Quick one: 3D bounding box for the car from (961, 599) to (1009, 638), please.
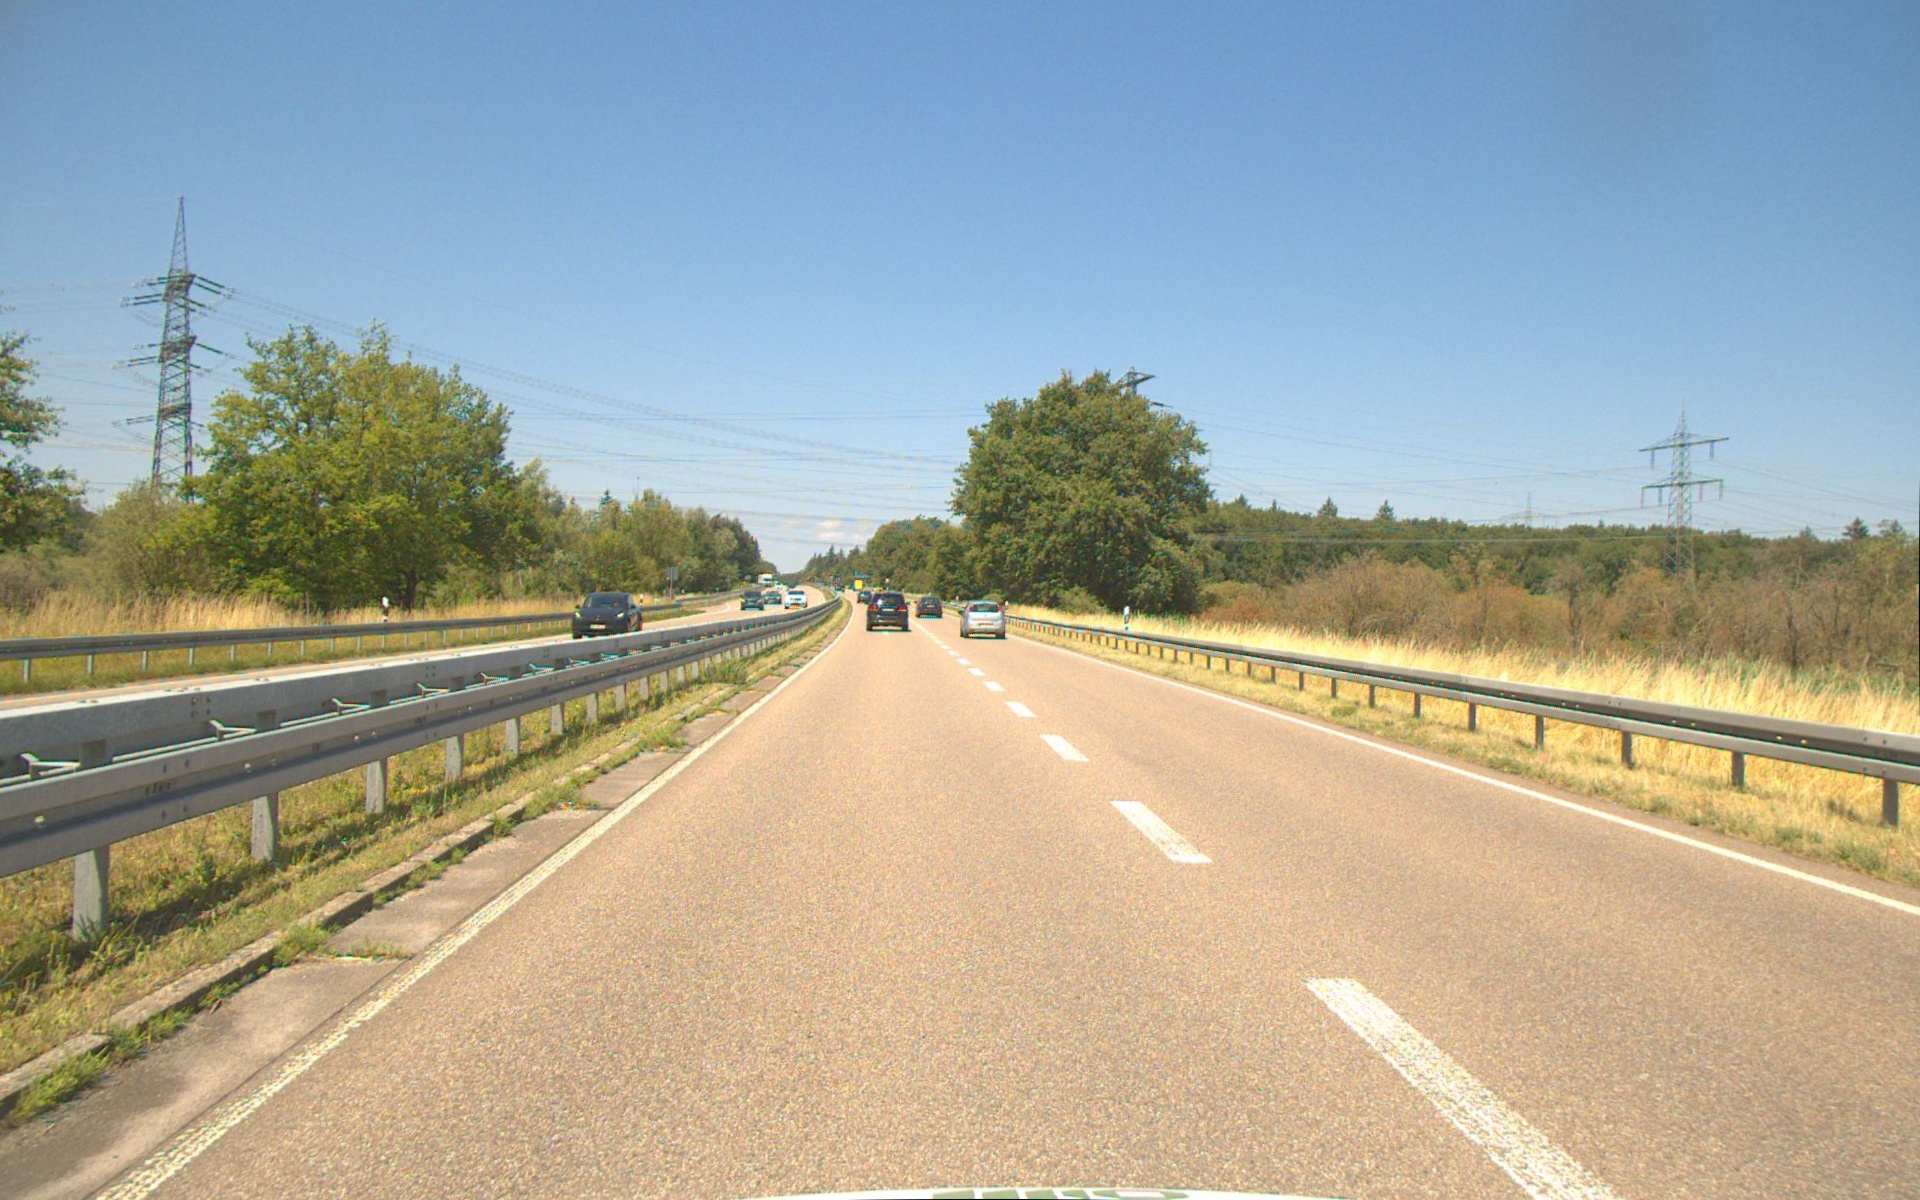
[{"bbox_3d":[0.988,0.713,66.474,1.743,1.505,4.314,1,0,-1],"label":"car"}]

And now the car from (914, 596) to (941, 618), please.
[{"bbox_3d":[-2.261,0.458,114.357,1.782,1.439,3.999,1,0,-1],"label":"car"}]

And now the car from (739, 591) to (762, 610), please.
[{"bbox_3d":[-17.073,0.073,134.966,1.582,1.501,3.064,1,0,-4],"label":"car"}]

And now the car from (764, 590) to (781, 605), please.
[{"bbox_3d":[-20.254,-0.308,178.724,1.484,1.500,3.065,4,0,-2],"label":"car"}]

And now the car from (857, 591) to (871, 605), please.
[{"bbox_3d":[-11.069,-0.239,191.676,1.484,1.501,3.065,1,0,-1],"label":"car"}]

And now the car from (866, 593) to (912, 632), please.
[{"bbox_3d":[-3.200,0.537,75.112,1.953,1.683,3.999,1,0,-1],"label":"car"}]

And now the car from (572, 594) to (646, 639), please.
[{"bbox_3d":[-12.161,0.564,57.506,1.794,1.501,3.683,1,0,-1],"label":"car"}]

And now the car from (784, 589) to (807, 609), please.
[{"bbox_3d":[-14.581,-0.102,147.043,1.955,1.691,3.996,1,0,-5],"label":"car"}]
